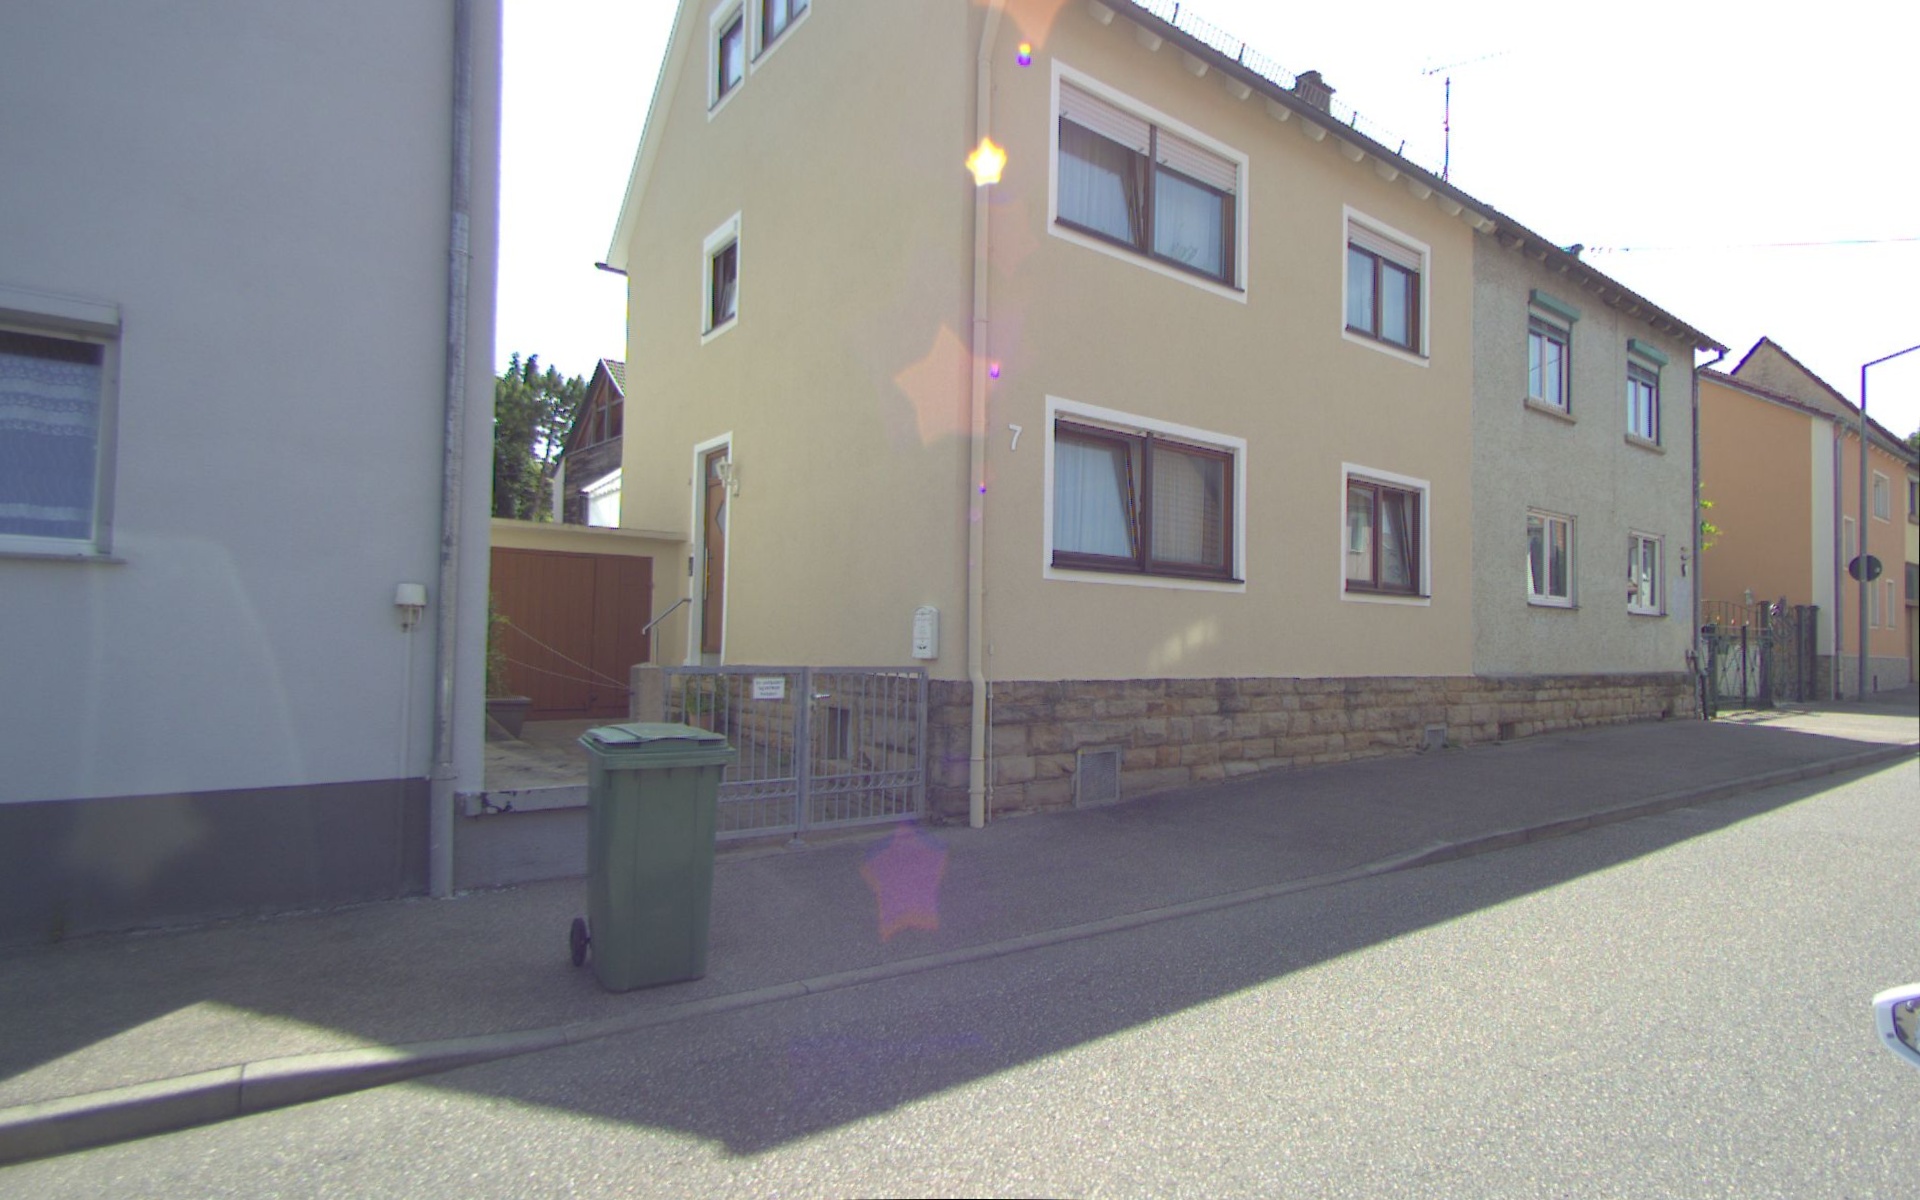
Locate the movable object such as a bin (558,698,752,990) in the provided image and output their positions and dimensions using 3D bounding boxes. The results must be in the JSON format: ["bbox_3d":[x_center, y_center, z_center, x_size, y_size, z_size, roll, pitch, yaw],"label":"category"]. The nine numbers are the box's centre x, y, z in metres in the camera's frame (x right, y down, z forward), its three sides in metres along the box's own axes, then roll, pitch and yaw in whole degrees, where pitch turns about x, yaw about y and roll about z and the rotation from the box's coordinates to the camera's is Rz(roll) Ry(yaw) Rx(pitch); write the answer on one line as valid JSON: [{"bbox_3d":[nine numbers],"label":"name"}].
[{"bbox_3d":[-1.371,1.012,4.472,0.671,1.074,0.750,1,-1,-30],"label":"movable object such as a bin"}]
